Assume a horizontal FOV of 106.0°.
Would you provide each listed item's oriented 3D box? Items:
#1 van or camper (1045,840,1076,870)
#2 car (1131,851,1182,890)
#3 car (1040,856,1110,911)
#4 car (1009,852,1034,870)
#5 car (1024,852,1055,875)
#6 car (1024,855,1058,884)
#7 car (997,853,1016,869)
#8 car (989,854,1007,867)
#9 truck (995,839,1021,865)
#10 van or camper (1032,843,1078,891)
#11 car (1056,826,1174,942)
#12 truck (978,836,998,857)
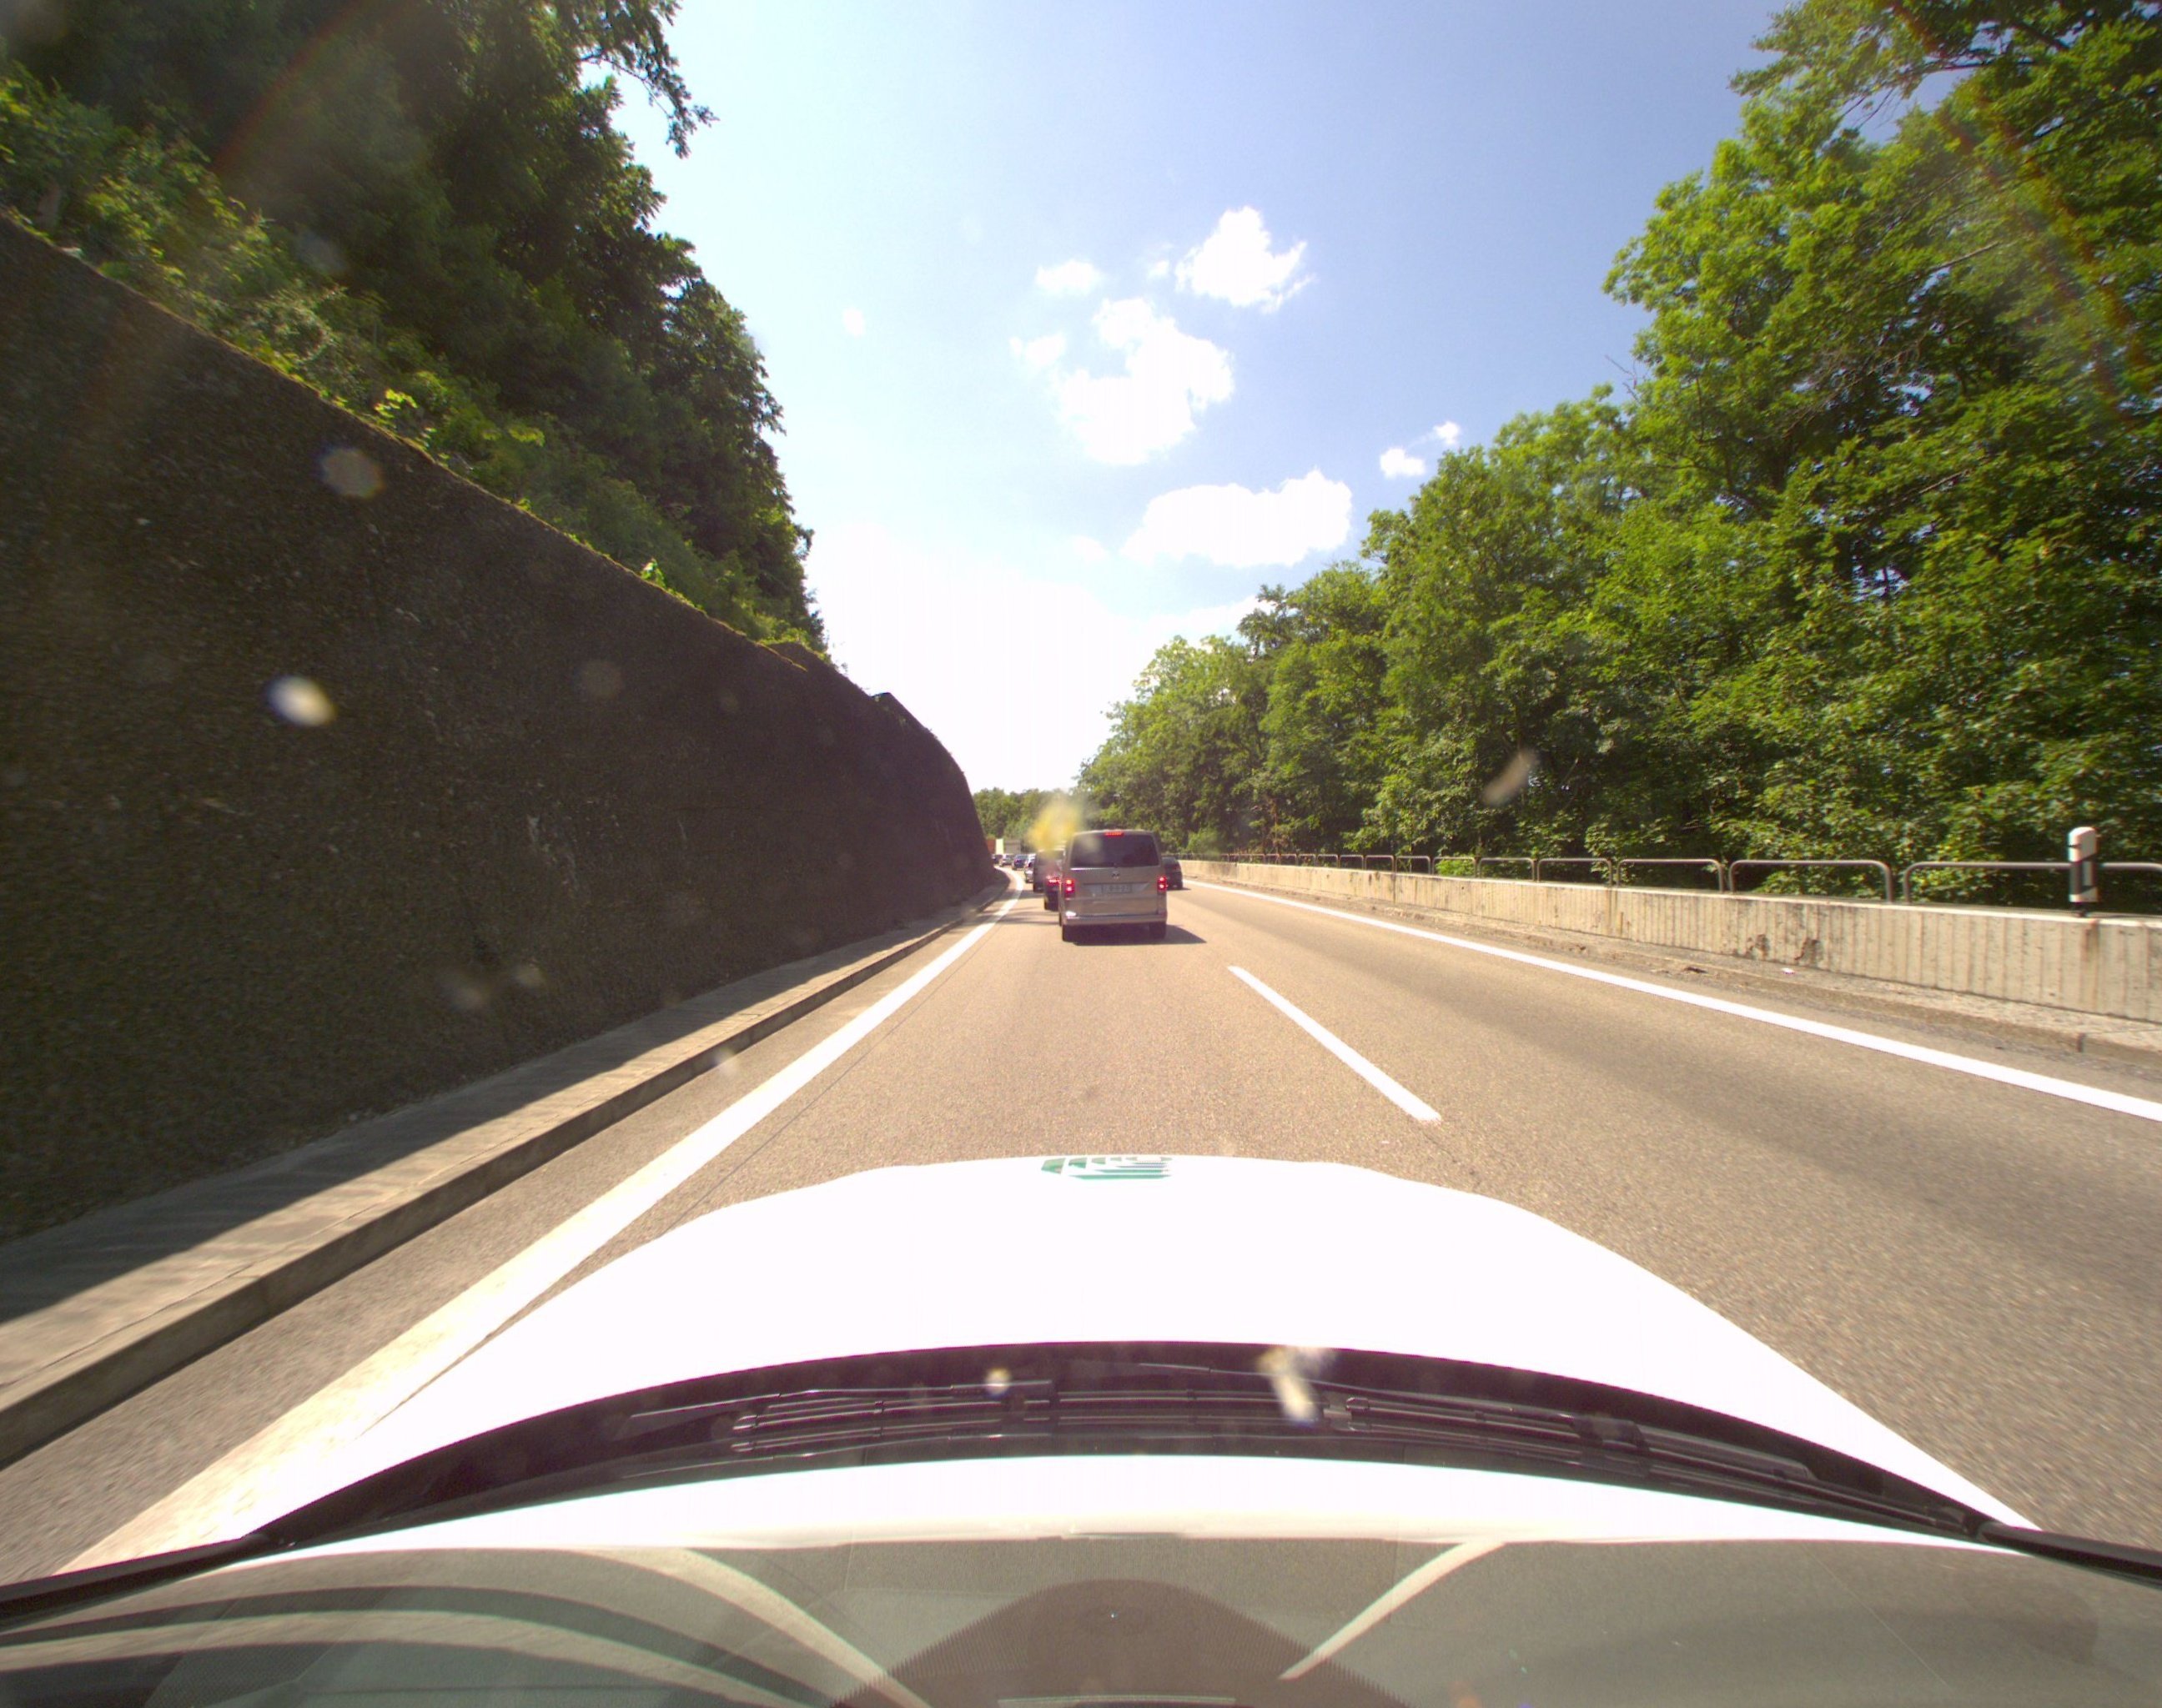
[{"bbox_3d":[-2.181,0.111,84.090,2.601,2.855,6.321,3,0,-6],"label":"van or camper"},{"bbox_3d":[3.018,0.628,33.106,1.680,1.458,3.999,0,0,-1],"label":"car"},{"bbox_3d":[-0.128,0.800,24.284,1.898,1.489,4.379,0,0,1],"label":"car"},{"bbox_3d":[-5.556,0.654,75.261,1.859,1.619,3.985,-1,0,-11],"label":"car"},{"bbox_3d":[-3.109,0.665,60.333,1.894,1.584,3.759,-1,0,-9],"label":"car"},{"bbox_3d":[-2.221,0.827,45.910,1.766,1.472,3.998,2,0,-1],"label":"car"},{"bbox_3d":[-8.191,0.745,89.700,1.991,1.618,3.992,-1,0,-6],"label":"car"},{"bbox_3d":[-10.373,0.810,101.624,1.753,1.571,3.752,-1,0,-14],"label":"car"},{"bbox_3d":[-10.937,-0.249,121.323,2.928,3.687,7.690,-1,0,-13],"label":"truck"},{"bbox_3d":[-1.184,0.529,35.258,1.849,1.942,4.160,-1,0,-3],"label":"van or camper"},{"bbox_3d":[0.504,0.496,16.101,1.936,1.931,4.689,-1,0,-3],"label":"car"},{"bbox_3d":[-16.582,-1.279,144.736,3.162,3.468,8.196,4,0,-9],"label":"truck"}]
